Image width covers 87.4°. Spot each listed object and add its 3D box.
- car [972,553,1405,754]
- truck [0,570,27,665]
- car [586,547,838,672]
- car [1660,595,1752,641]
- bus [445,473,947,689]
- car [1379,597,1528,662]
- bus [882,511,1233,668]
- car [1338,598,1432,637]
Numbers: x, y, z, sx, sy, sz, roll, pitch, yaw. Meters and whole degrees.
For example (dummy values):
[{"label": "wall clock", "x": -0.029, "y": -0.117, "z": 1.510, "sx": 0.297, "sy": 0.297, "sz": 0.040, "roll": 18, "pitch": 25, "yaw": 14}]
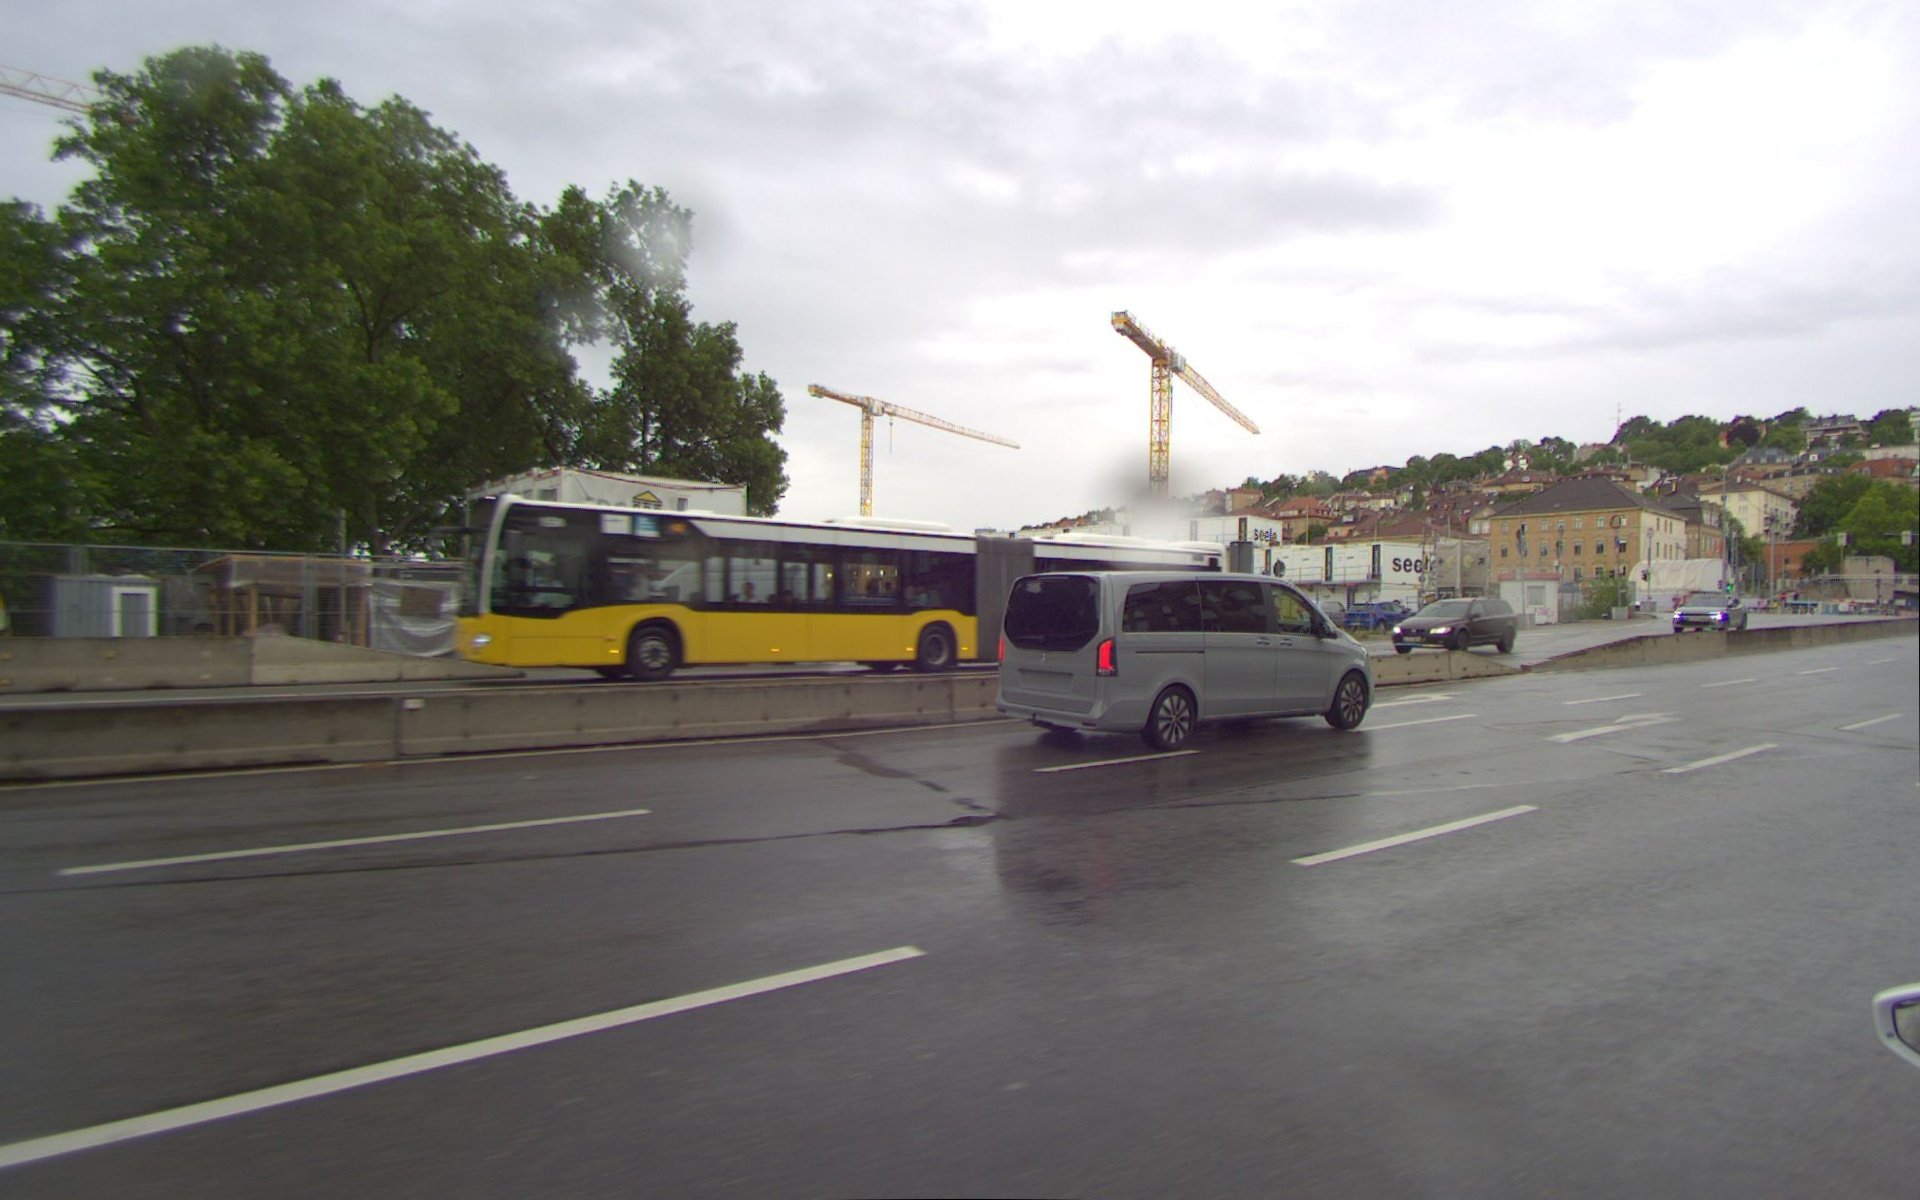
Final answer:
[{"label": "car", "x": 2.854, "y": 0.560, "z": 11.784, "sx": 5.308, "sy": 1.881, "sz": 1.979, "roll": 2, "pitch": 0, "yaw": -37}, {"label": "truck", "x": -23.001, "y": 0.390, "z": 22.987, "sx": 2.147, "sy": 2.040, "sz": 5.202, "roll": 2, "pitch": -2, "yaw": -41}, {"label": "car", "x": -6.195, "y": 0.291, "z": 25.713, "sx": 5.944, "sy": 2.913, "sz": 1.997, "roll": 2, "pitch": -2, "yaw": -10}, {"label": "car", "x": 32.583, "y": 0.822, "z": 43.830, "sx": 5.253, "sy": 1.779, "sz": 1.978, "roll": 3, "pitch": -3, "yaw": -38}, {"label": "bus", "x": -4.547, "y": -0.155, "z": 18.831, "sx": 8.727, "sy": 3.226, "sz": 2.785, "roll": 2, "pitch": -2, "yaw": -38}, {"label": "car", "x": 14.297, "y": 0.893, "z": 28.956, "sx": 4.892, "sy": 1.684, "sz": 2.023, "roll": 3, "pitch": -3, "yaw": -39}, {"label": "bus", "x": 2.654, "y": -0.083, "z": 24.297, "sx": 9.065, "sy": 3.193, "sz": 2.684, "roll": 2, "pitch": -2, "yaw": -37}, {"label": "car", "x": 18.769, "y": 0.732, "z": 44.297, "sx": 3.957, "sy": 1.643, "sz": 1.982, "roll": 0, "pitch": 0, "yaw": -34}]
